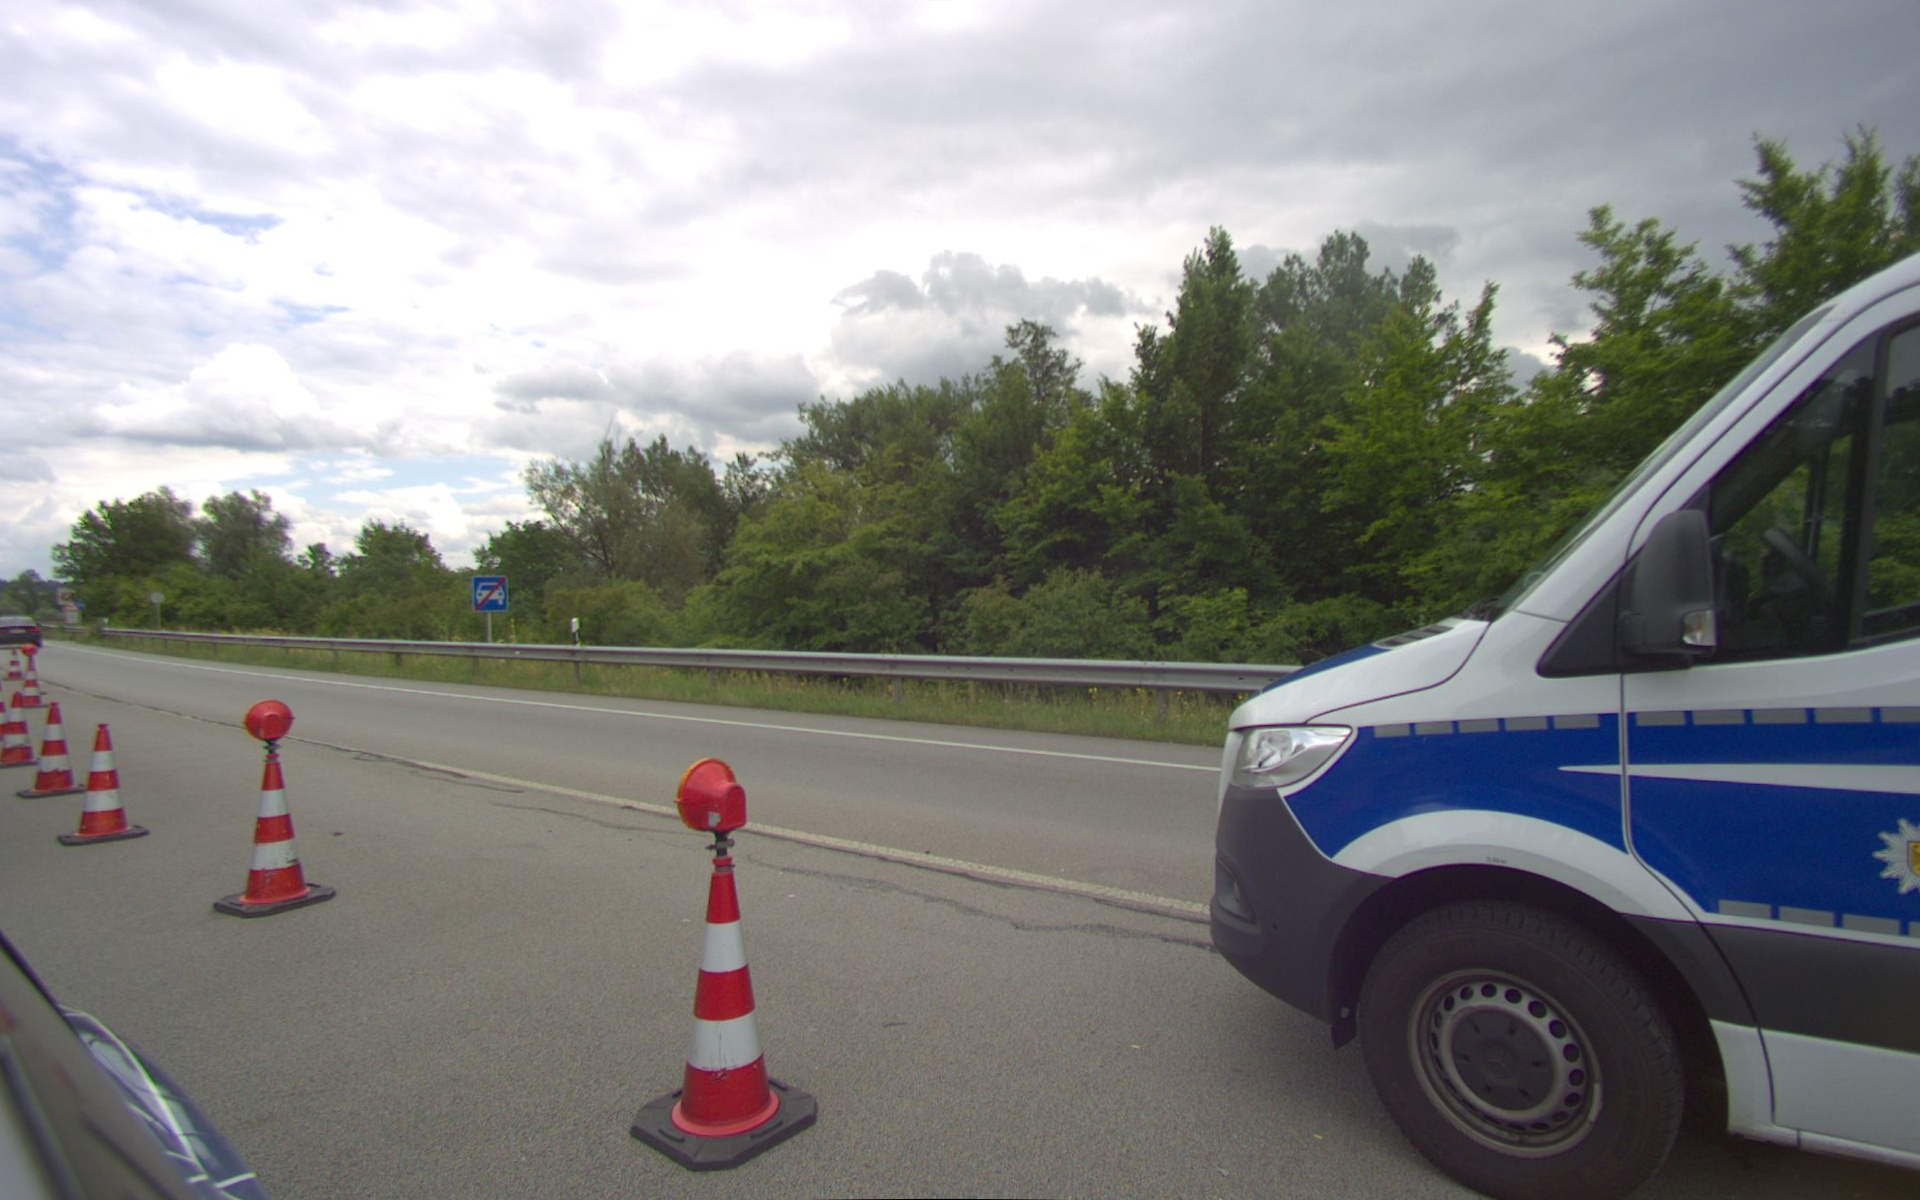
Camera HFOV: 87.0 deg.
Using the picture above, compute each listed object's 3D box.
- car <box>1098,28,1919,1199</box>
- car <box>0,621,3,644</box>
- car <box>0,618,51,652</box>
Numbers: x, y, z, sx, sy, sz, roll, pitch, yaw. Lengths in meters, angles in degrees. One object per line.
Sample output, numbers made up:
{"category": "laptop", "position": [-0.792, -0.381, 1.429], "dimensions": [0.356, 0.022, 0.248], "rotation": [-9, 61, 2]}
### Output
{"category": "car", "position": [3.107, 0.143, 2.175], "dimensions": [5.272, 2.482, 2.010], "rotation": [-1, -1, 38]}
{"category": "car", "position": [-59.521, 1.979, 61.331], "dimensions": [4.370, 1.412, 1.662], "rotation": [-1, -1, 39]}
{"category": "car", "position": [-43.568, 1.601, 47.002], "dimensions": [4.338, 1.447, 1.690], "rotation": [-1, -1, 44]}
